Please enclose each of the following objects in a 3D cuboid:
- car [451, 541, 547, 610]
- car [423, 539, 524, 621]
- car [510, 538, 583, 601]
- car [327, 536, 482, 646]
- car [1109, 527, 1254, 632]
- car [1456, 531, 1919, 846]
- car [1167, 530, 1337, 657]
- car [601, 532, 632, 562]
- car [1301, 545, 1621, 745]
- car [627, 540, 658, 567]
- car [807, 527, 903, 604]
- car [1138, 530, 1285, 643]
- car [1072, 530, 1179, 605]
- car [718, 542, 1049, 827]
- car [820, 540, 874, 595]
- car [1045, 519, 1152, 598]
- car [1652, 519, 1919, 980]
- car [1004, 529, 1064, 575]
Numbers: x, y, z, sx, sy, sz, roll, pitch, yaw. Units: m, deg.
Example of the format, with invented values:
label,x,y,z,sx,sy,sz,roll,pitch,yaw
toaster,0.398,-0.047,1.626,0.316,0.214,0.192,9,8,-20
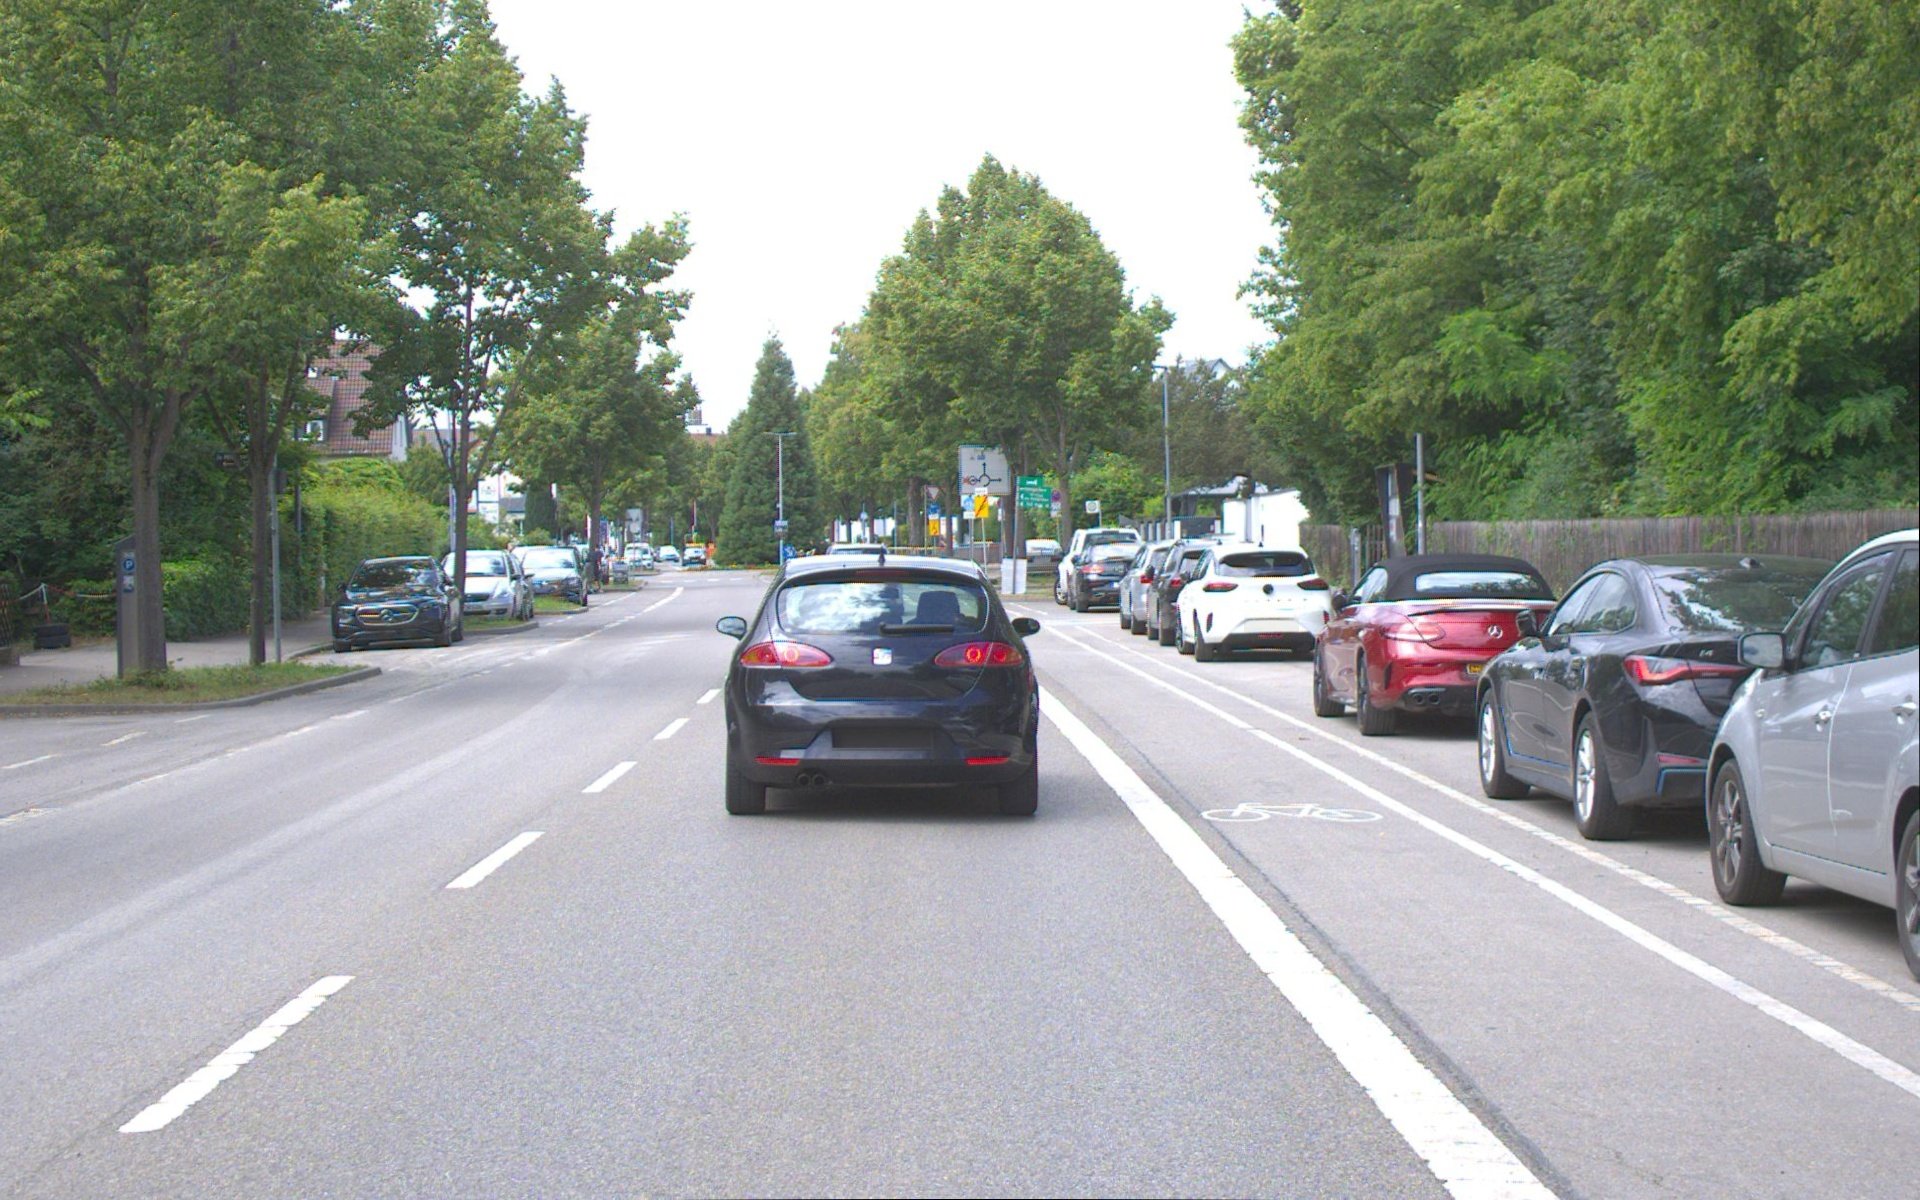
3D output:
label,x,y,z,sx,sy,sz,roll,pitch,yaw
car,-10.706,-0.598,80.134,1.993,1.480,4.891,-2,1,-6
car,-10.109,-0.445,71.691,1.718,1.607,3.911,-2,1,-3
car,-10.745,-0.818,89.516,1.677,1.546,4.273,-1,1,-4
car,-9.209,-0.189,57.398,2.095,1.641,5.039,-2,2,-4
car,3.490,-0.341,54.874,1.861,1.605,4.687,0,1,-2
car,4.040,0.399,18.932,1.816,1.510,4.680,0,1,-1
car,3.663,-0.099,43.709,1.768,1.505,4.031,-1,1,0
car,-22.987,-3.549,230.191,2.029,1.964,4.001,-2,1,-6
car,3.989,0.307,28.086,1.859,1.408,4.444,1,2,-1
car,-19.598,-2.902,212.367,1.797,1.596,4.001,-2,1,-4
car,-2.280,-0.764,74.627,1.993,1.607,4.000,-1,1,-2
car,3.564,-0.229,49.391,1.702,1.505,4.538,0,2,-1
car,3.242,-0.663,68.122,1.863,1.412,4.603,-1,1,0
car,-0.417,0.414,20.170,1.732,1.481,4.000,1,1,0
car,-4.309,-1.256,130.850,1.993,2.007,4.000,-1,1,-2
car,2.977,-0.898,74.629,1.900,1.637,4.117,-1,1,-3
car,4.154,0.480,13.346,1.862,1.584,4.422,0,1,-3
car,2.379,-1.534,111.402,1.611,1.372,4.387,-1,0,-3
